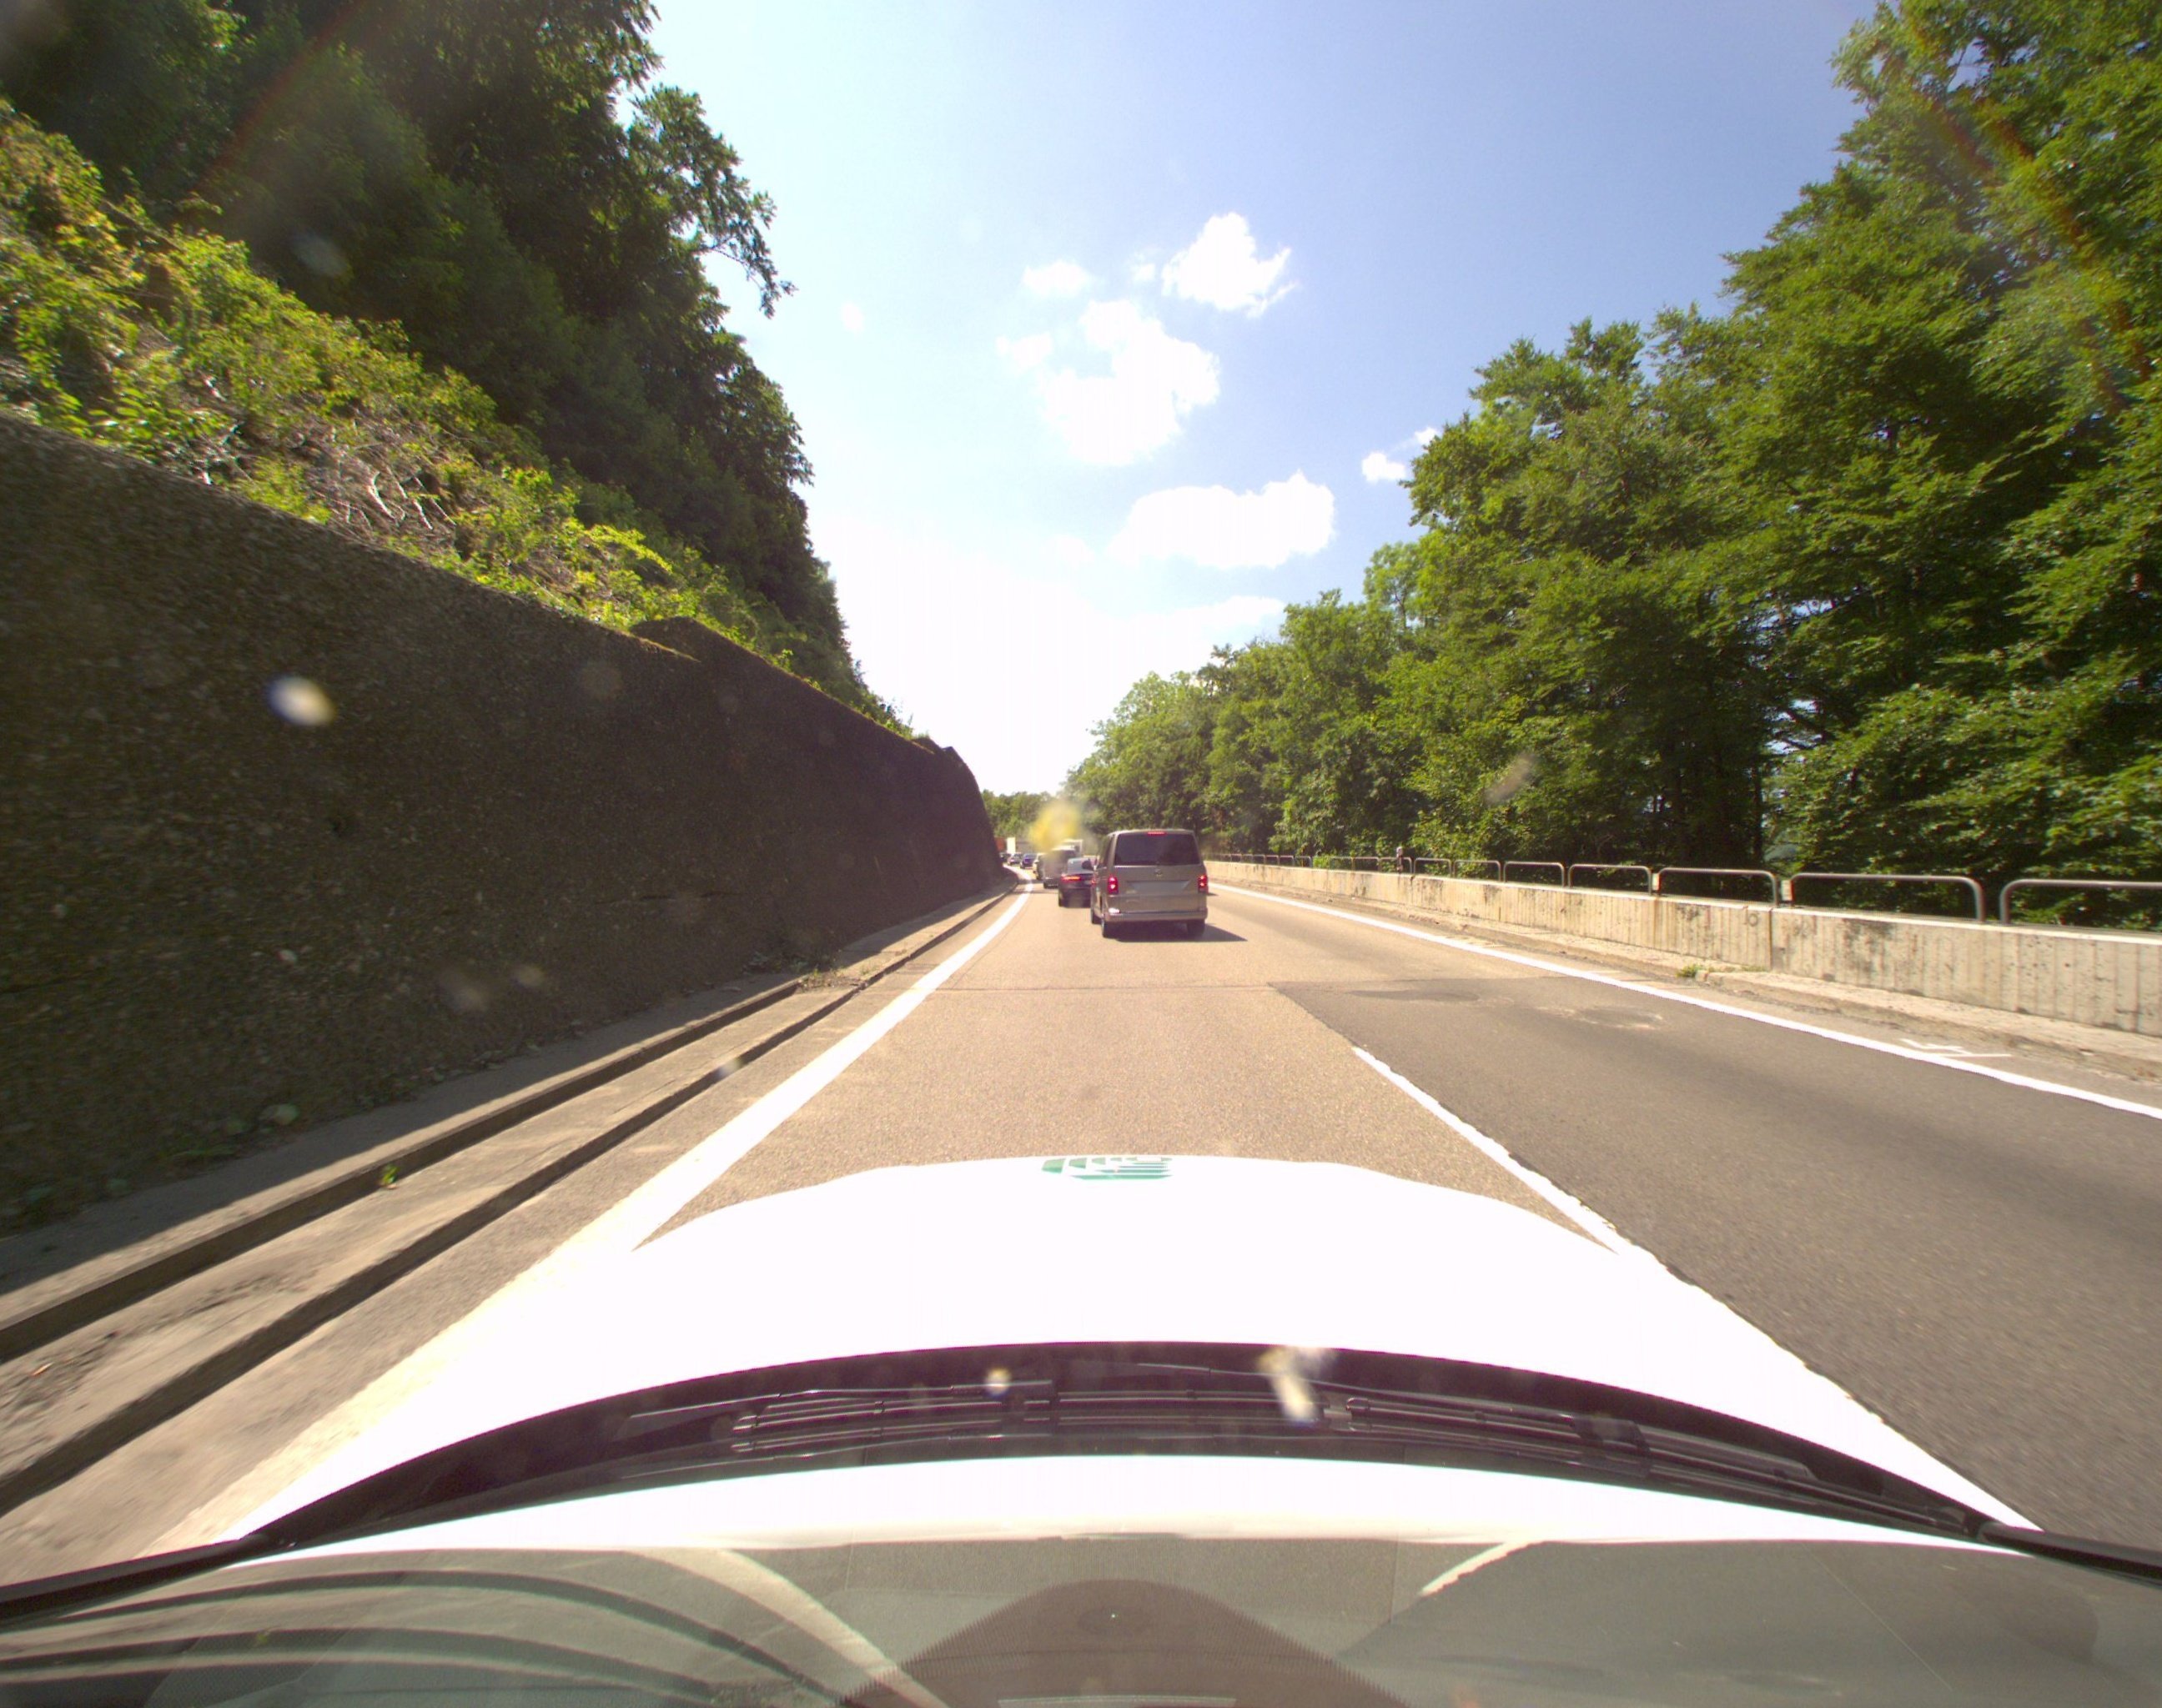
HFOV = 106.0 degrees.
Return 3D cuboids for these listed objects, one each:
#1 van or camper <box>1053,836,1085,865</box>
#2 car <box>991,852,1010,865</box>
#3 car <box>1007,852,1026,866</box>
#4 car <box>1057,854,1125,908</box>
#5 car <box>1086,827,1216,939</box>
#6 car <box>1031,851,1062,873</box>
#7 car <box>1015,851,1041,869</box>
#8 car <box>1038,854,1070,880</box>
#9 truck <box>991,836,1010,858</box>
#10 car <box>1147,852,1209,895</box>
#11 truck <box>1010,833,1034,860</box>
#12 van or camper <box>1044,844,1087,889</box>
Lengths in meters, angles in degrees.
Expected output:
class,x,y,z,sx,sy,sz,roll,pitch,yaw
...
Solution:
class,x,y,z,sx,sy,sz,roll,pitch,yaw
van or camper,-1.272,-0.381,82.711,2.602,2.855,6.319,0,0,-8
car,-10.217,0.553,102.813,1.754,1.571,3.751,0,0,-15
car,-7.237,0.550,91.410,1.992,1.618,3.990,0,0,-7
car,0.290,0.762,25.030,1.899,1.489,4.378,0,0,0
car,1.232,0.501,16.451,1.937,1.931,4.688,0,0,-4
car,-2.636,0.592,61.310,1.895,1.584,3.758,-2,0,-10
car,-5.015,0.516,76.782,1.859,1.619,3.983,-1,0,-12
car,-1.614,0.740,48.467,1.767,1.472,3.997,1,0,-2
truck,-14.120,-1.191,143.086,3.159,3.468,8.206,3,0,-5
car,3.454,0.663,29.649,1.680,1.458,3.997,0,0,-2
truck,-8.758,-1.130,120.525,2.923,3.687,7.704,3,0,-8
van or camper,-0.735,0.530,37.769,1.848,1.942,4.163,1,0,-1
